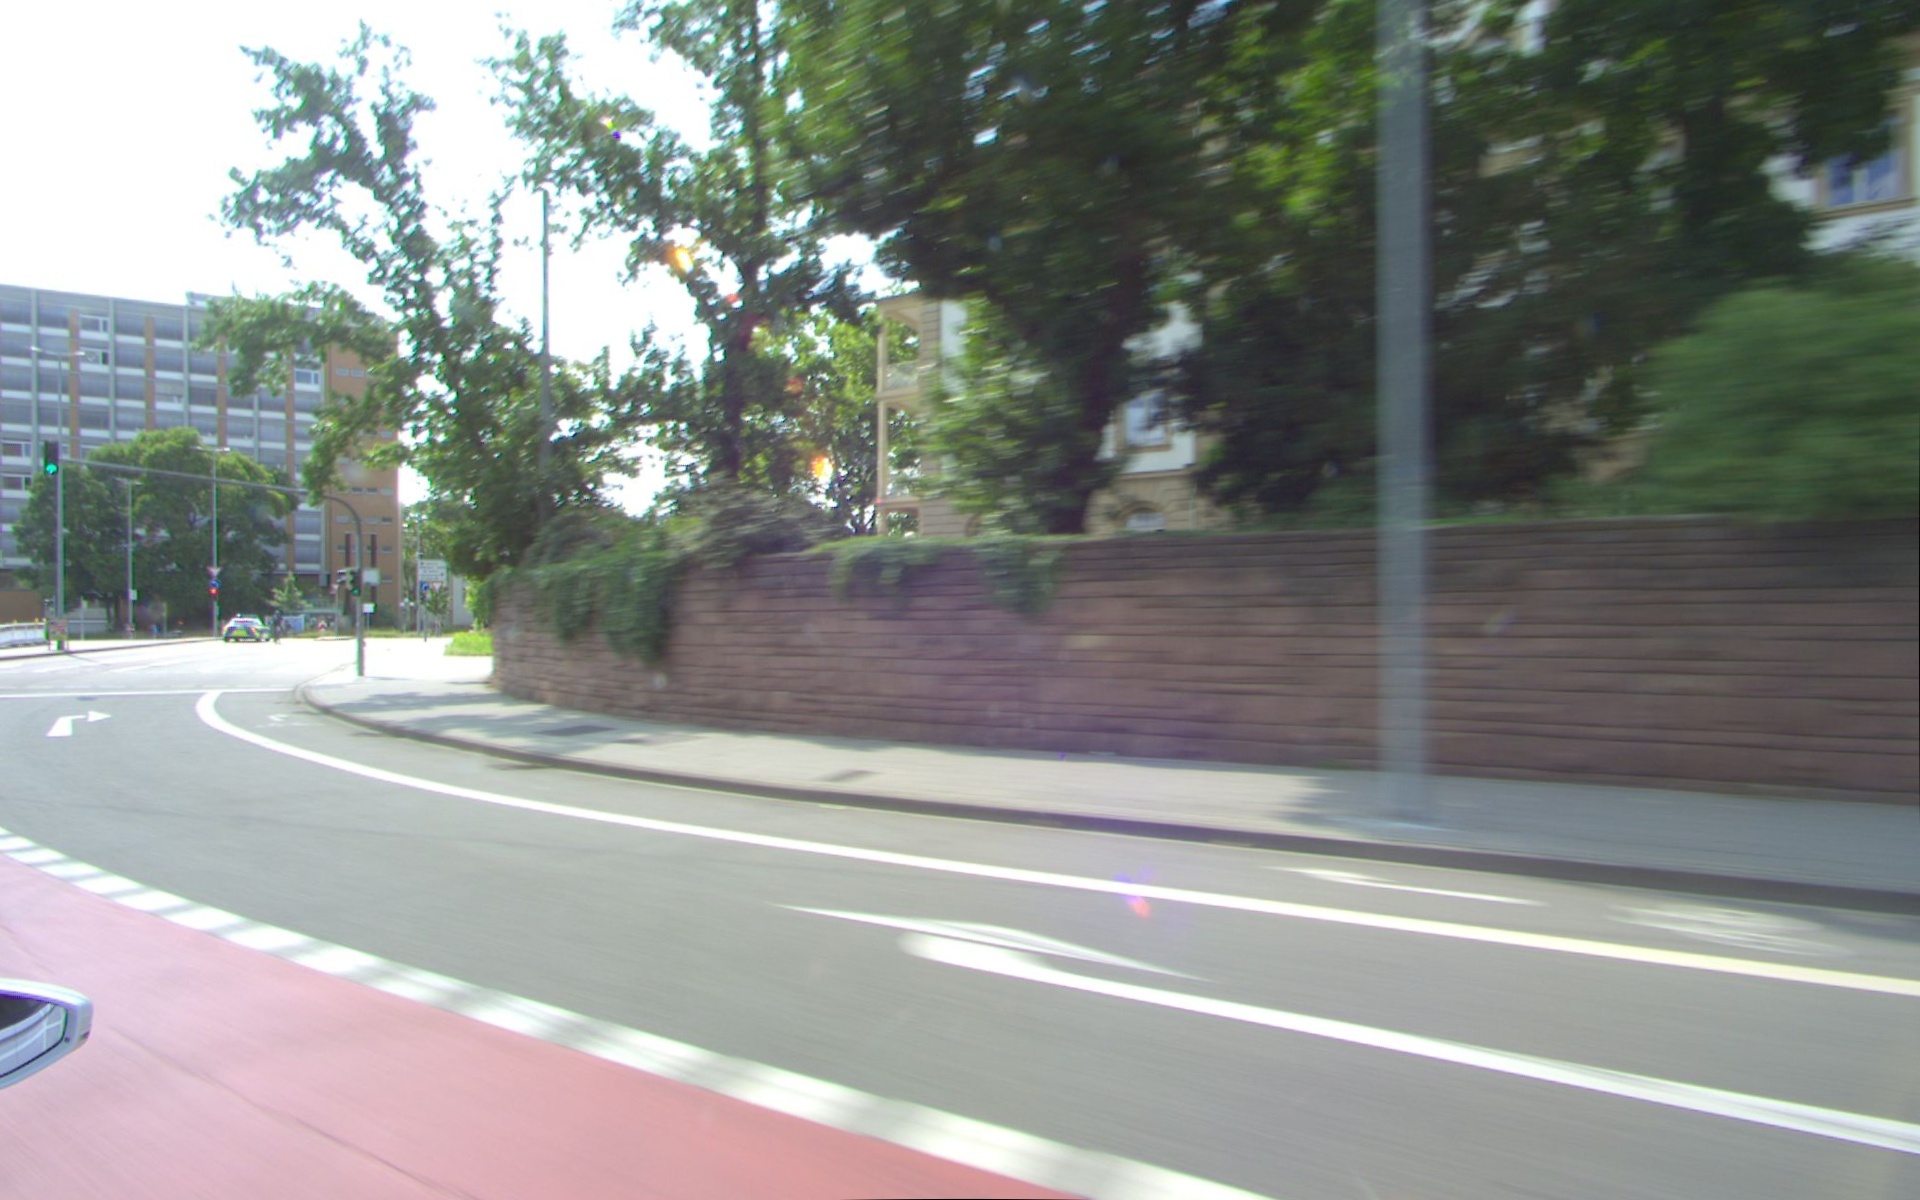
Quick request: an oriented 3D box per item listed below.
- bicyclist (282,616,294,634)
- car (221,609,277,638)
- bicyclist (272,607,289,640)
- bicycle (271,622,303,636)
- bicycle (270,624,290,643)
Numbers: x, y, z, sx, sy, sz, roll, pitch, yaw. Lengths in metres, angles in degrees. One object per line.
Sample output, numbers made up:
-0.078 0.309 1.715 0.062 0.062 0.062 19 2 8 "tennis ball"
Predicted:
-54.926 2.040 81.869 0.828 1.490 0.632 0 1 -34 "bicyclist"
-44.130 1.483 62.242 2.105 1.705 4.086 2 -2 -26 "car"
-40.810 1.401 60.146 0.709 2.000 0.836 0 1 -26 "bicyclist"
-54.972 2.348 81.838 2.162 1.098 0.632 0 0 -34 "bicycle"
-40.748 1.985 60.016 0.712 1.098 2.181 0 0 -26 "bicycle"
